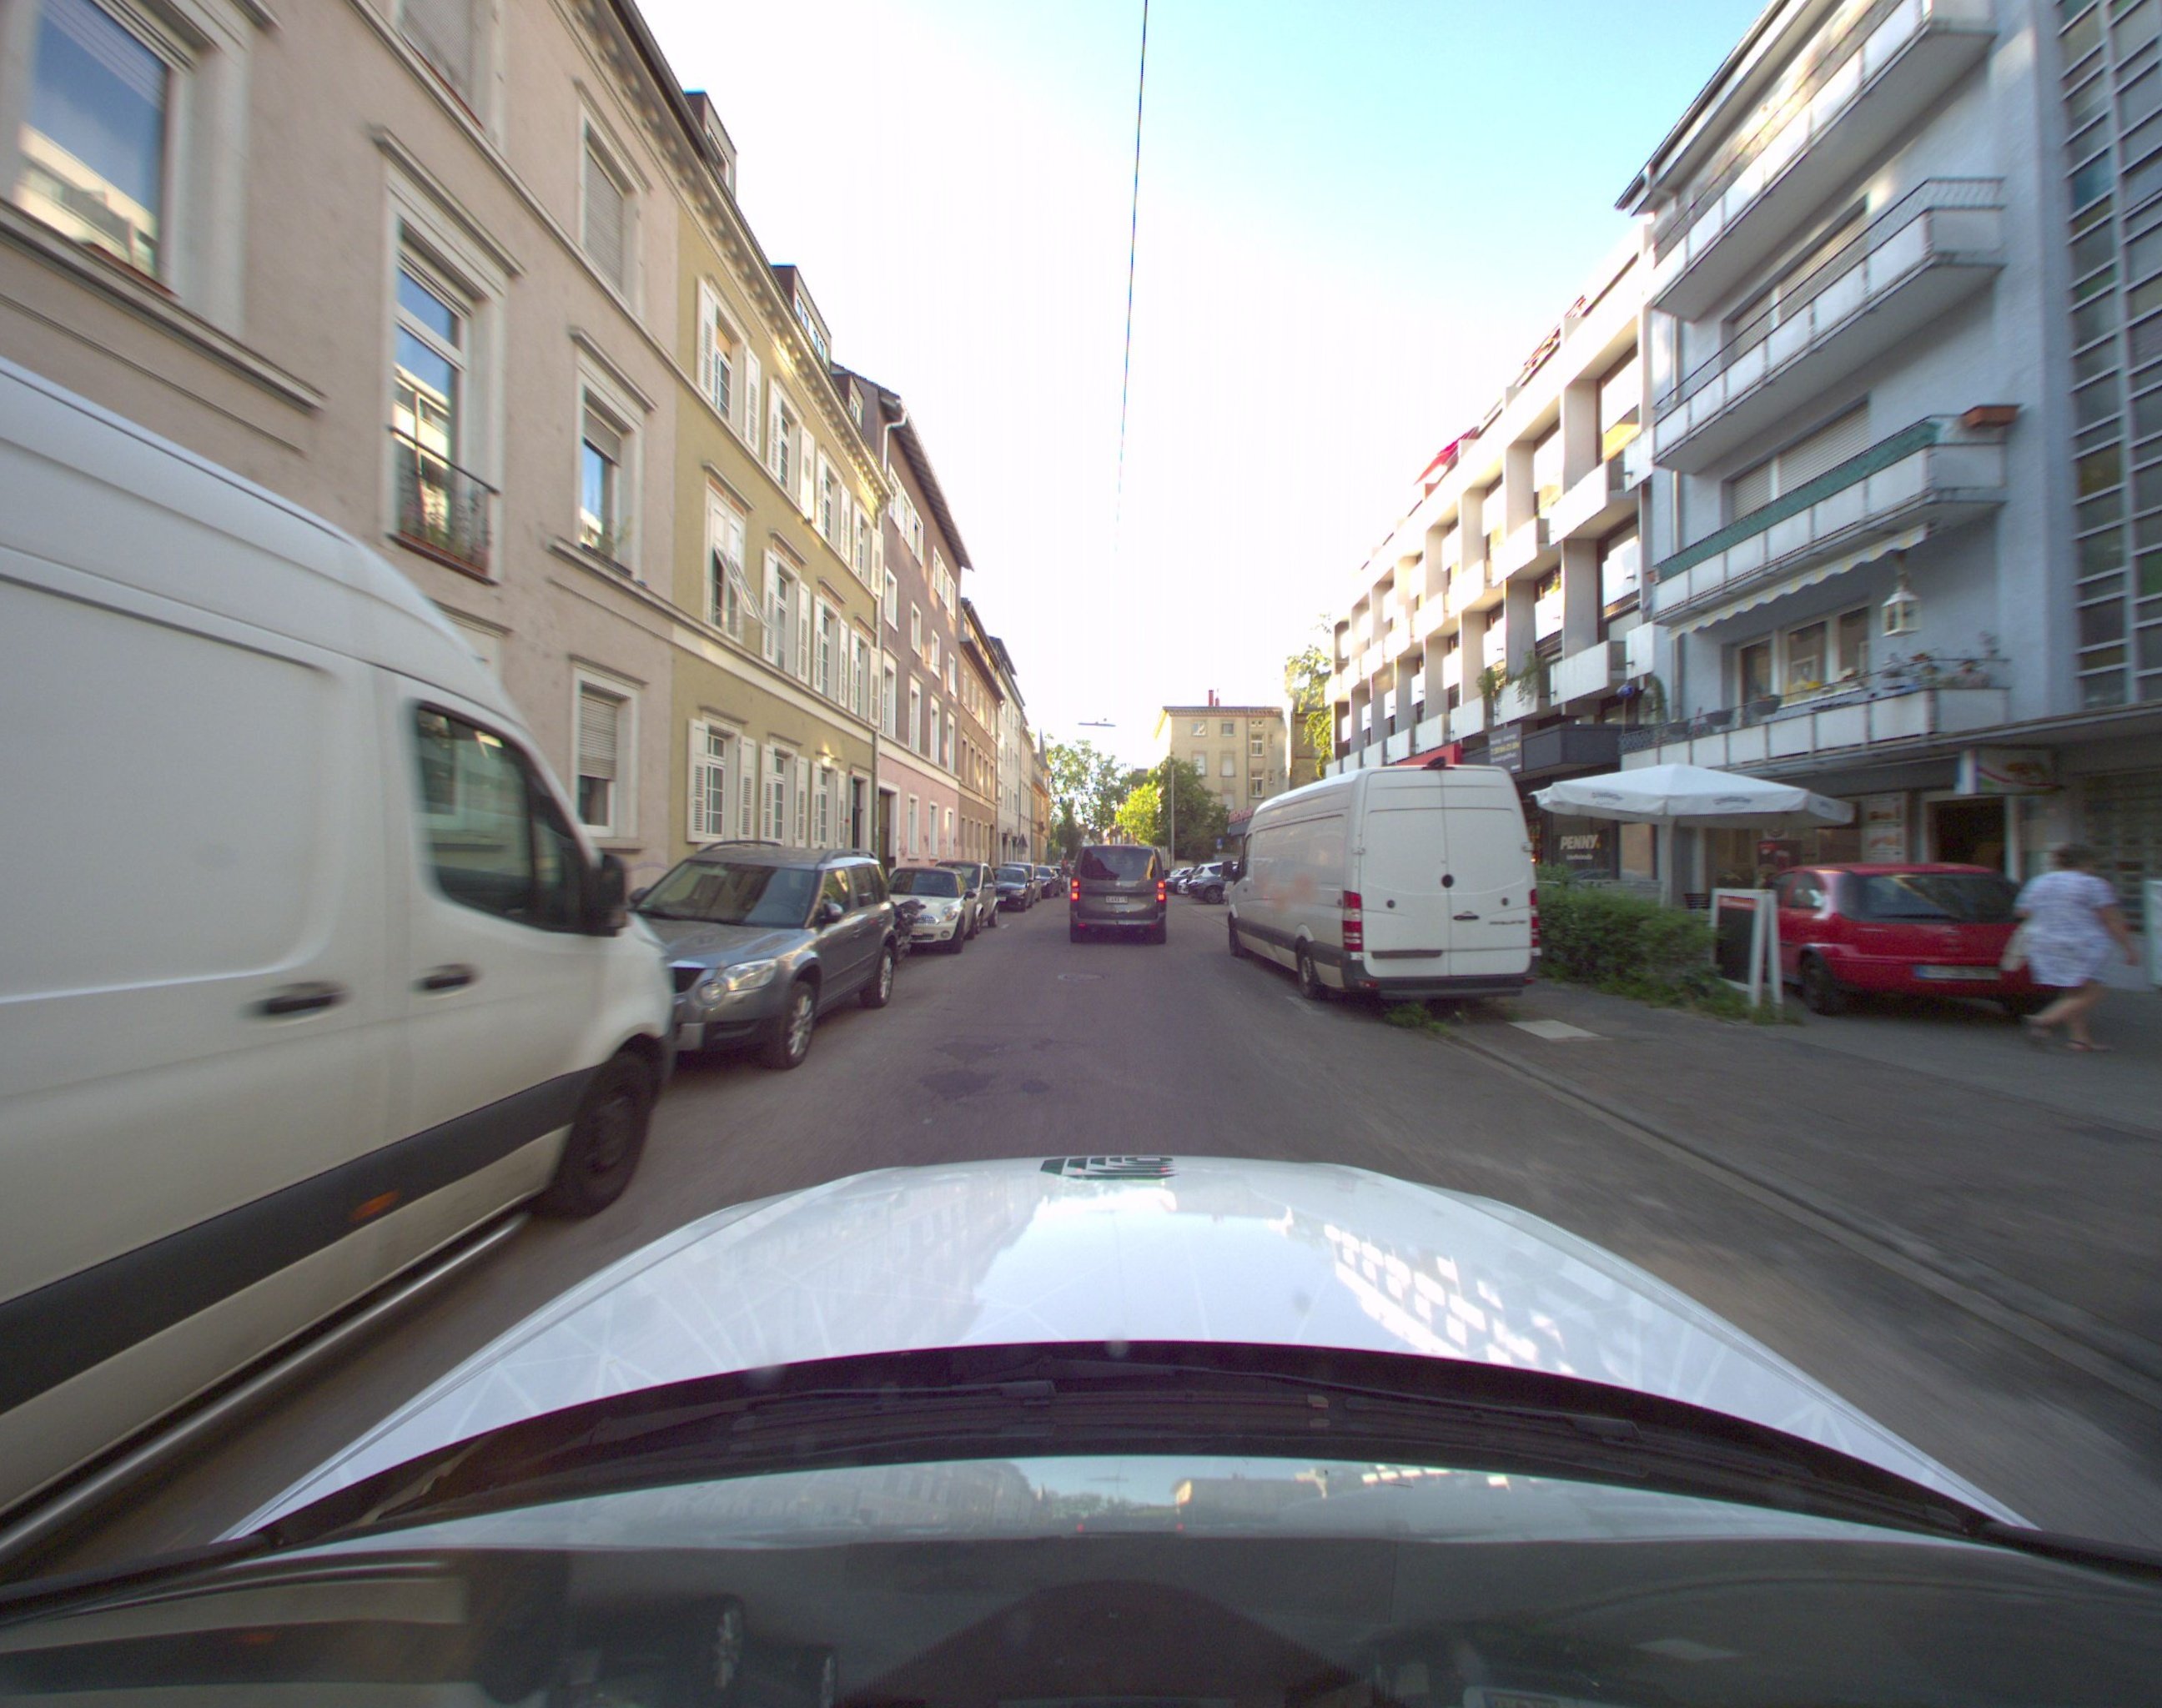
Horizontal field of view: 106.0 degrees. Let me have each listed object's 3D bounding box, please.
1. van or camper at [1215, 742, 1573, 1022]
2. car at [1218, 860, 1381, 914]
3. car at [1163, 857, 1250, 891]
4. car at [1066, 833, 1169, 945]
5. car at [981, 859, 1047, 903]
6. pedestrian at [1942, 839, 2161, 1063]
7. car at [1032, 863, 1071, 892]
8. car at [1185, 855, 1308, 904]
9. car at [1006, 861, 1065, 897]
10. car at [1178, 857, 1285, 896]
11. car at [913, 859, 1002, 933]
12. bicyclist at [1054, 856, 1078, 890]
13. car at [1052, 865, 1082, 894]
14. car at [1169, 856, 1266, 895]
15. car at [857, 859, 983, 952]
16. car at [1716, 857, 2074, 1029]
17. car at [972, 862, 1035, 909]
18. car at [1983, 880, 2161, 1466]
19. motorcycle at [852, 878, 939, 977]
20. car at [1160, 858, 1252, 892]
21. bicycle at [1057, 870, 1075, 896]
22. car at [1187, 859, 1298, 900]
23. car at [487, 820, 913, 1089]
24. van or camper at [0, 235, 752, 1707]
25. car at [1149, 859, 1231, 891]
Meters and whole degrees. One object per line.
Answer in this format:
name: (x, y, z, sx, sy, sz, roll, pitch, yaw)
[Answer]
van or camper: (3.550, 0.295, 11.392, 2.093, 2.602, 7.510, -1, -1, 0)
car: (6.785, 1.003, 25.588, 4.609, 1.466, 1.841, -2, -1, 1)
car: (7.145, 1.141, 46.706, 4.563, 1.859, 1.996, 1, -1, -6)
car: (0.750, 0.662, 16.986, 1.850, 2.014, 4.002, -1, -1, 2)
car: (-2.577, 1.014, 32.449, 1.985, 1.605, 4.589, 1, -1, 3)
pedestrian: (7.519, 0.685, 6.308, 0.874, 1.556, 0.869, -2, 0, -21)
car: (-1.709, 1.352, 47.941, 2.138, 1.561, 4.581, 1, -1, -2)
car: (6.563, 1.004, 32.728, 4.555, 1.859, 2.000, 1, -1, 0)
car: (-2.068, 1.141, 38.343, 1.983, 1.560, 4.592, 1, -1, 6)
car: (7.023, 1.050, 38.194, 4.563, 1.705, 1.996, 1, -1, -6)
car: (-2.724, 0.893, 18.470, 1.379, 1.532, 2.752, 1, -1, 4)
bicyclist: (-0.698, 0.896, 38.233, 1.029, 1.578, 0.834, -1, -1, 5)
car: (-1.010, 1.753, 56.479, 1.988, 1.859, 4.581, 1, -1, -2)
car: (6.770, 1.067, 40.593, 4.467, 1.859, 1.881, 1, -1, -6)
car: (-2.835, 0.853, 15.101, 1.707, 1.497, 3.851, 1, -1, -3)
car: (8.107, 0.755, 8.507, 1.585, 1.416, 3.247, -1, -1, 24)
car: (-2.523, 1.012, 27.534, 1.783, 1.397, 4.464, 2, -1, -2)
car: (3.442, 0.741, 0.176, 1.717, 1.388, 4.294, -1, -1, 0)
motorcycle: (-2.638, 1.002, 11.879, 0.708, 1.234, 2.474, 1, -1, 0)
car: (6.658, 1.109, 43.687, 4.563, 1.792, 1.996, 0, -1, -6)
bicycle: (-0.692, 1.349, 37.866, 0.618, 1.138, 2.260, -1, -1, 5)
car: (6.958, 1.093, 35.350, 4.446, 1.676, 1.795, 1, -1, -4)
car: (-2.957, 0.681, 7.532, 1.857, 1.751, 4.293, 1, -1, 0)
van or camper: (-2.888, 0.226, 1.189, 1.943, 2.649, 7.138, -1, -1, 0)
car: (6.535, 1.268, 49.141, 4.563, 1.859, 1.996, 1, -1, -6)
